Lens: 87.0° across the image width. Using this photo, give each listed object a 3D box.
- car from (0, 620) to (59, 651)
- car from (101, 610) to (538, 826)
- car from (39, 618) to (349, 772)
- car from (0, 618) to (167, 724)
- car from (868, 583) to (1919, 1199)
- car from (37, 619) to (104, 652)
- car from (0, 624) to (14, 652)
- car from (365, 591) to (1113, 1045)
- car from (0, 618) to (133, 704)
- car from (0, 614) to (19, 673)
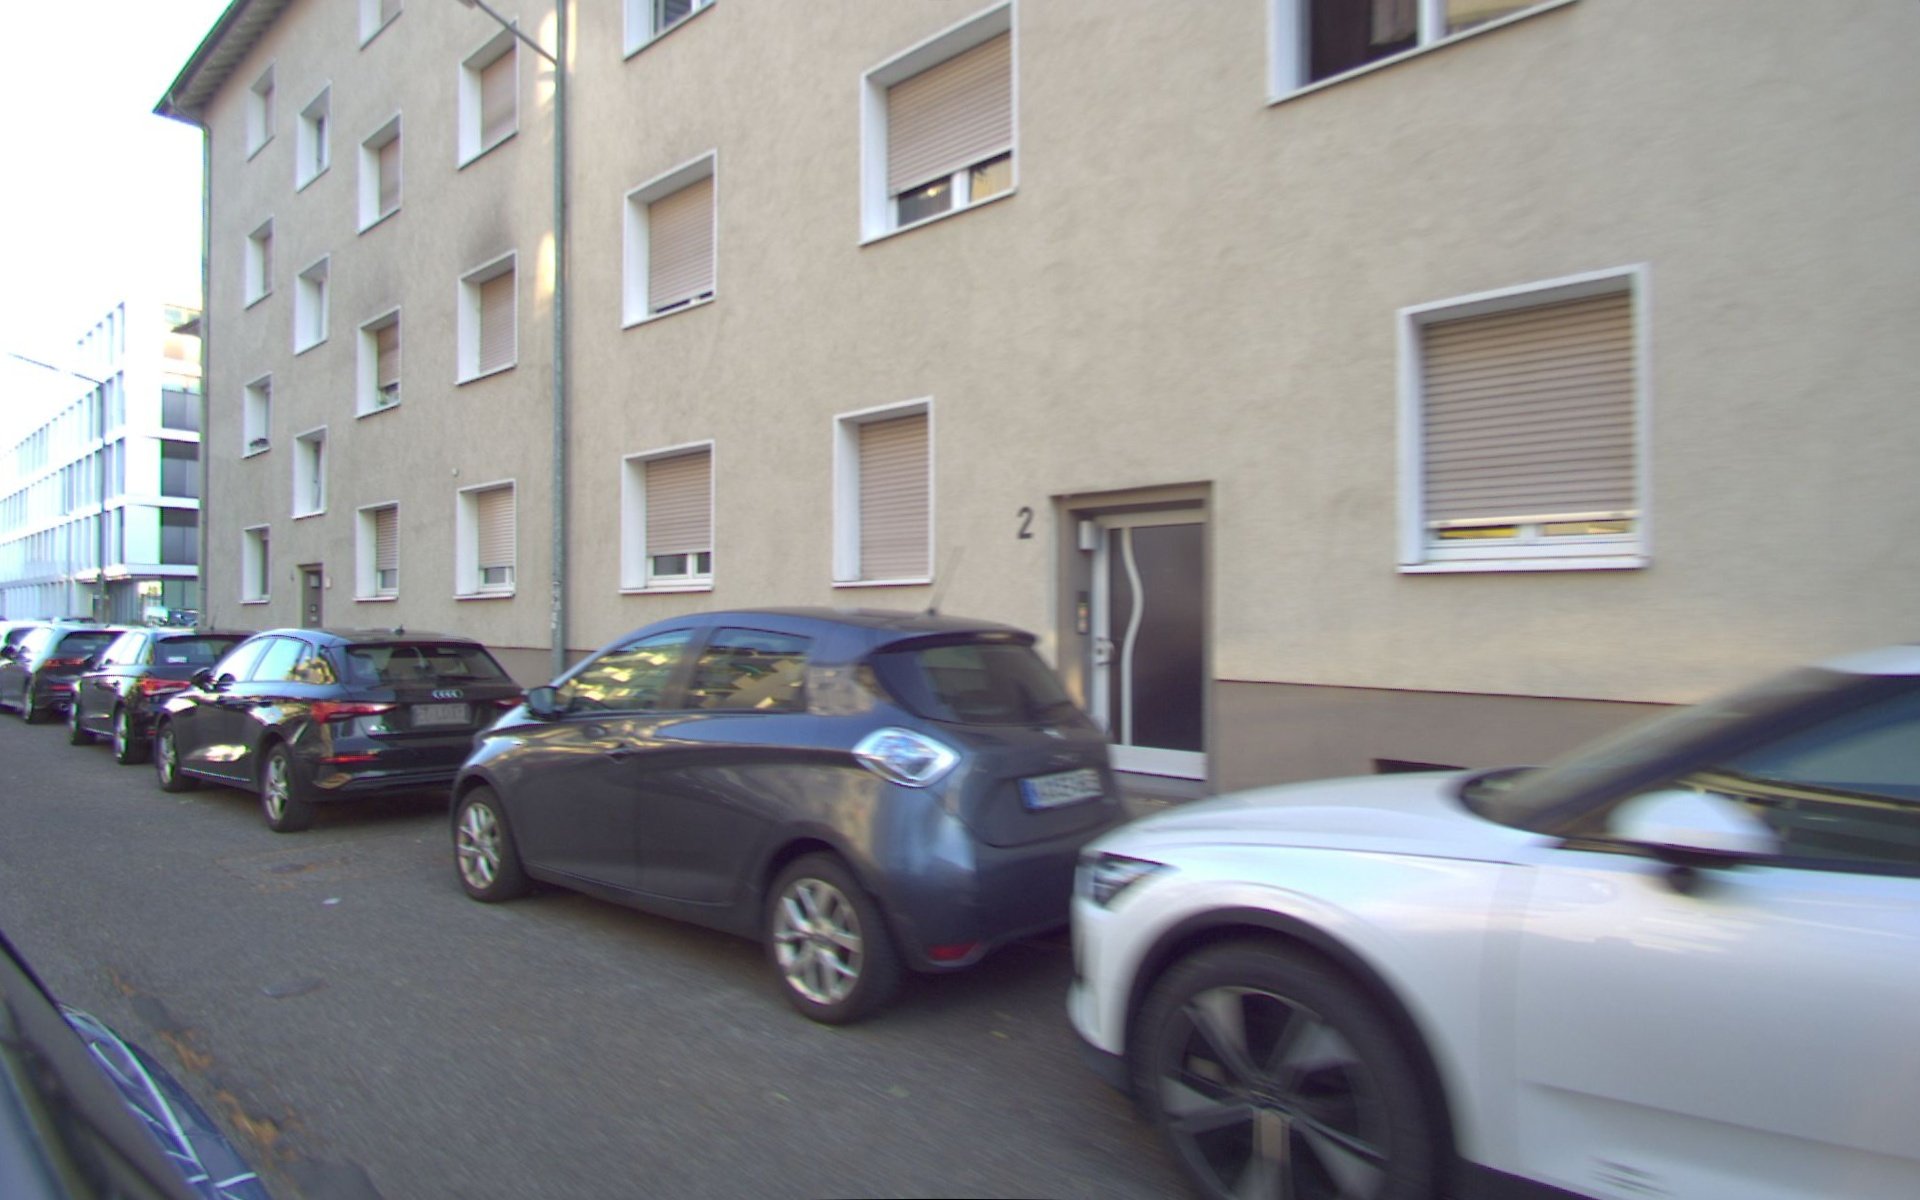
[{"bbox_3d":[-47.249,1.787,51.324,4.000,1.497,1.972,-1,-2,43],"label":"car"},{"bbox_3d":[-5.846,0.854,9.024,4.426,1.455,1.974,-2,-1,39],"label":"car"},{"bbox_3d":[-9.147,0.979,11.955,4.427,1.455,1.974,-2,-1,40],"label":"car"},{"bbox_3d":[-14.453,1.056,16.242,4.426,1.455,1.770,-2,-1,39],"label":"car"},{"bbox_3d":[2.191,0.764,2.232,4.906,1.488,1.887,-2,-4,41],"label":"car"},{"bbox_3d":[-42.240,1.680,48.034,4.000,1.497,1.972,-1,-2,43],"label":"car"},{"bbox_3d":[-54.942,2.152,57.106,4.000,1.530,1.972,-1,-2,43],"label":"car"},{"bbox_3d":[-1.391,0.820,5.449,4.063,1.545,1.772,-2,-3,39],"label":"car"},{"bbox_3d":[-17.725,1.108,19.448,4.426,1.455,1.974,-2,-1,39],"label":"car"},{"bbox_3d":[-26.576,1.166,26.686,4.426,1.501,1.974,-2,-1,39],"label":"car"}]
